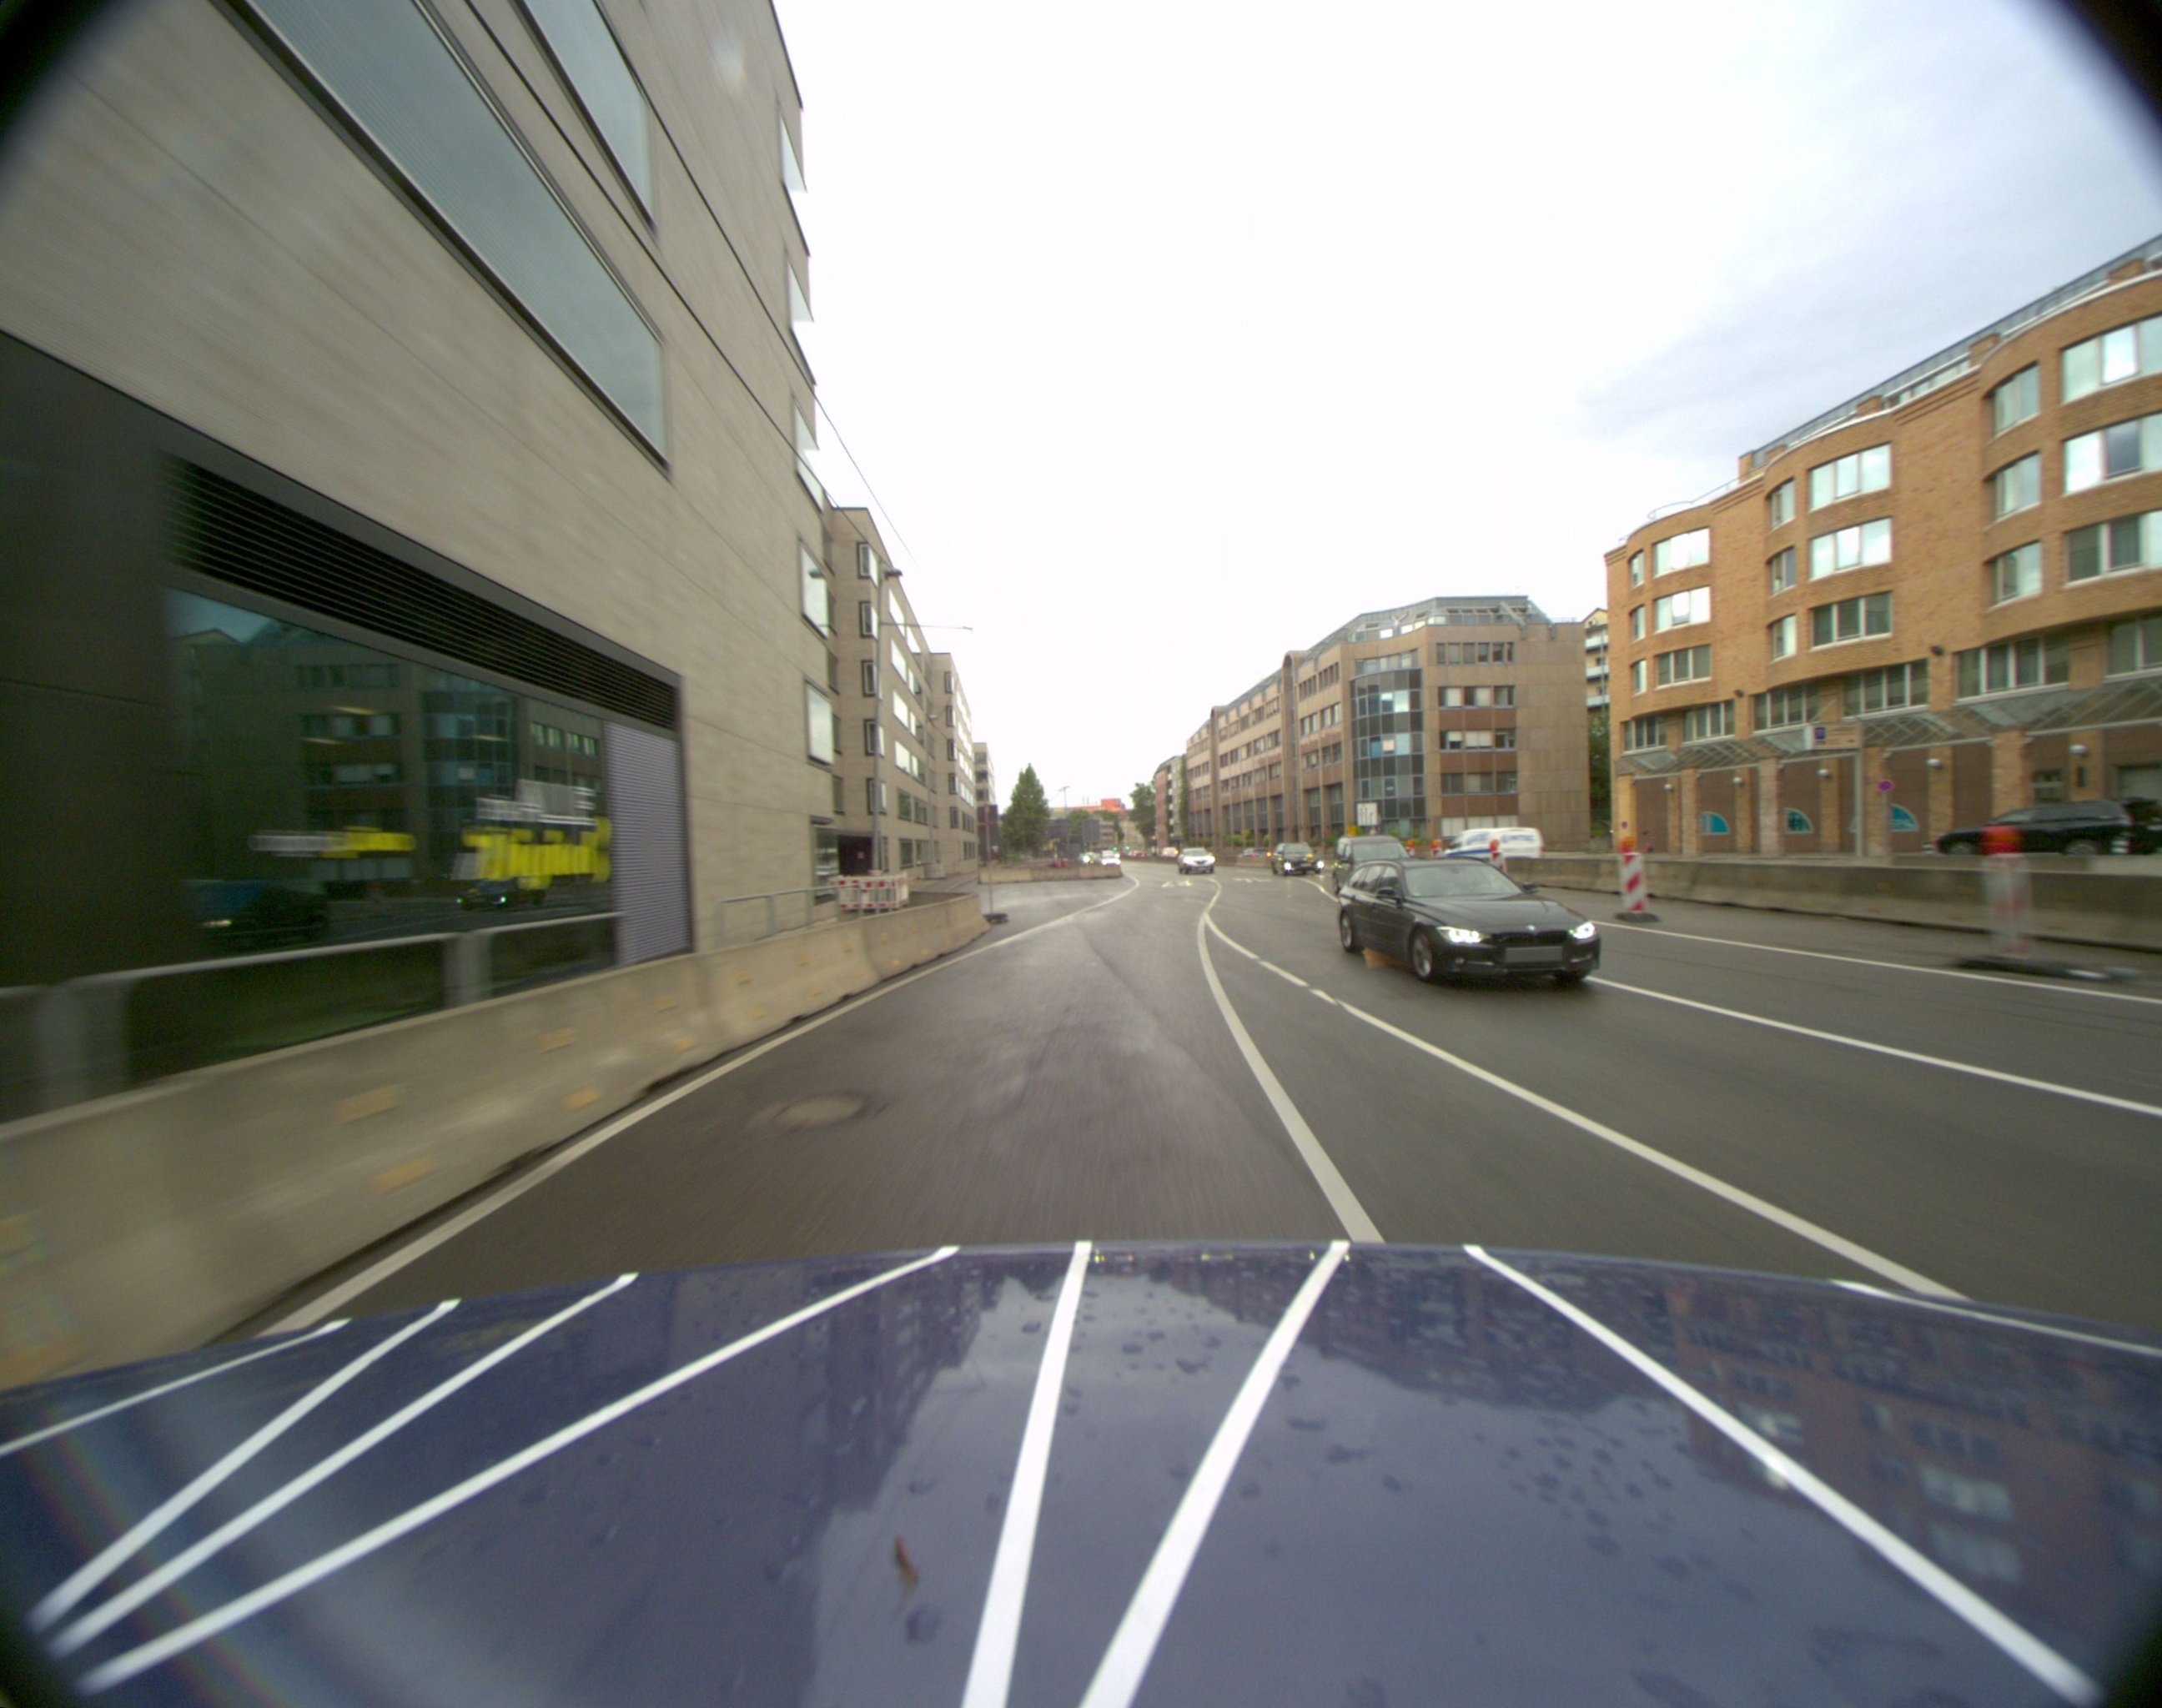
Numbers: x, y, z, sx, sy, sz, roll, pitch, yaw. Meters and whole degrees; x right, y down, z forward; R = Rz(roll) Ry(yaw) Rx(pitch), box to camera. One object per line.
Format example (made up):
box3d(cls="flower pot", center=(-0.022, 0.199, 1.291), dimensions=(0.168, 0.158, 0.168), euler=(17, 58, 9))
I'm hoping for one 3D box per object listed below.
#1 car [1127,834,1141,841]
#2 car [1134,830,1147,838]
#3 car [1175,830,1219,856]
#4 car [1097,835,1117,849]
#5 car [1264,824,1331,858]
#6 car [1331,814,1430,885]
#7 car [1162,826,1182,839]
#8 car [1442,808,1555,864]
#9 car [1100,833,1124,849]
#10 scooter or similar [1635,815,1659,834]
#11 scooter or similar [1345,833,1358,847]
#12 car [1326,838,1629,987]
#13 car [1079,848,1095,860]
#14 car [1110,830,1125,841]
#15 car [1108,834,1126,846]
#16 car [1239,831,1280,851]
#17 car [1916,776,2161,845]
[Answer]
box3d(cls="car", center=(10.462, -3.152, 149.839), dimensions=(1.850, 1.262, 4.545), euler=(-3, 1, -7))
box3d(cls="car", center=(9.705, -3.213, 123.617), dimensions=(1.617, 1.224, 3.725), euler=(-3, 1, -2))
box3d(cls="car", center=(7.415, -0.693, 49.043), dimensions=(1.773, 1.525, 4.653), euler=(-3, 1, -4))
box3d(cls="car", center=(3.019, -1.416, 89.261), dimensions=(1.773, 1.525, 4.653), euler=(-3, 1, -4))
box3d(cls="car", center=(10.767, -0.653, 38.105), dimensions=(1.773, 1.525, 4.353), euler=(-3, 1, -4))
box3d(cls="car", center=(8.558, -0.182, 22.072), dimensions=(1.797, 1.790, 4.253), euler=(-2, 1, 10))
box3d(cls="car", center=(12.628, -2.970, 105.580), dimensions=(1.891, 1.773, 4.874), euler=(-3, 1, -4))
box3d(cls="car", center=(15.753, -0.704, 29.027), dimensions=(1.998, 1.874, 4.871), euler=(-2, 1, 6))
box3d(cls="car", center=(3.066, -1.304, 76.296), dimensions=(1.773, 1.525, 4.653), euler=(-3, 1, -4))
box3d(cls="scooter or similar", center=(32.102, -1.683, 43.074), dimensions=(1.042, 1.057, 0.451), euler=(-1, 2, 43))
box3d(cls="scooter or similar", center=(21.841, -1.115, 61.318), dimensions=(0.450, 1.057, 1.043), euler=(-3, 2, -15))
box3d(cls="car", center=(4.755, 0.552, 10.018), dimensions=(1.772, 1.435, 4.656), euler=(-2, 1, 4))
box3d(cls="car", center=(0.770, -0.020, 106.942), dimensions=(1.773, 1.525, 4.653), euler=(-3, 1, -4))
box3d(cls="car", center=(5.750, -2.936, 121.586), dimensions=(1.773, 1.525, 4.653), euler=(-3, 1, -4))
box3d(cls="car", center=(4.770, -1.861, 101.844), dimensions=(1.773, 1.525, 4.653), euler=(-3, 1, -4))
box3d(cls="car", center=(14.403, -1.074, 61.579), dimensions=(1.999, 1.451, 4.226), euler=(-3, 1, -5))
box3d(cls="car", center=(29.570, -1.254, 23.380), dimensions=(1.999, 1.875, 5.010), euler=(-3, 1, -6))
